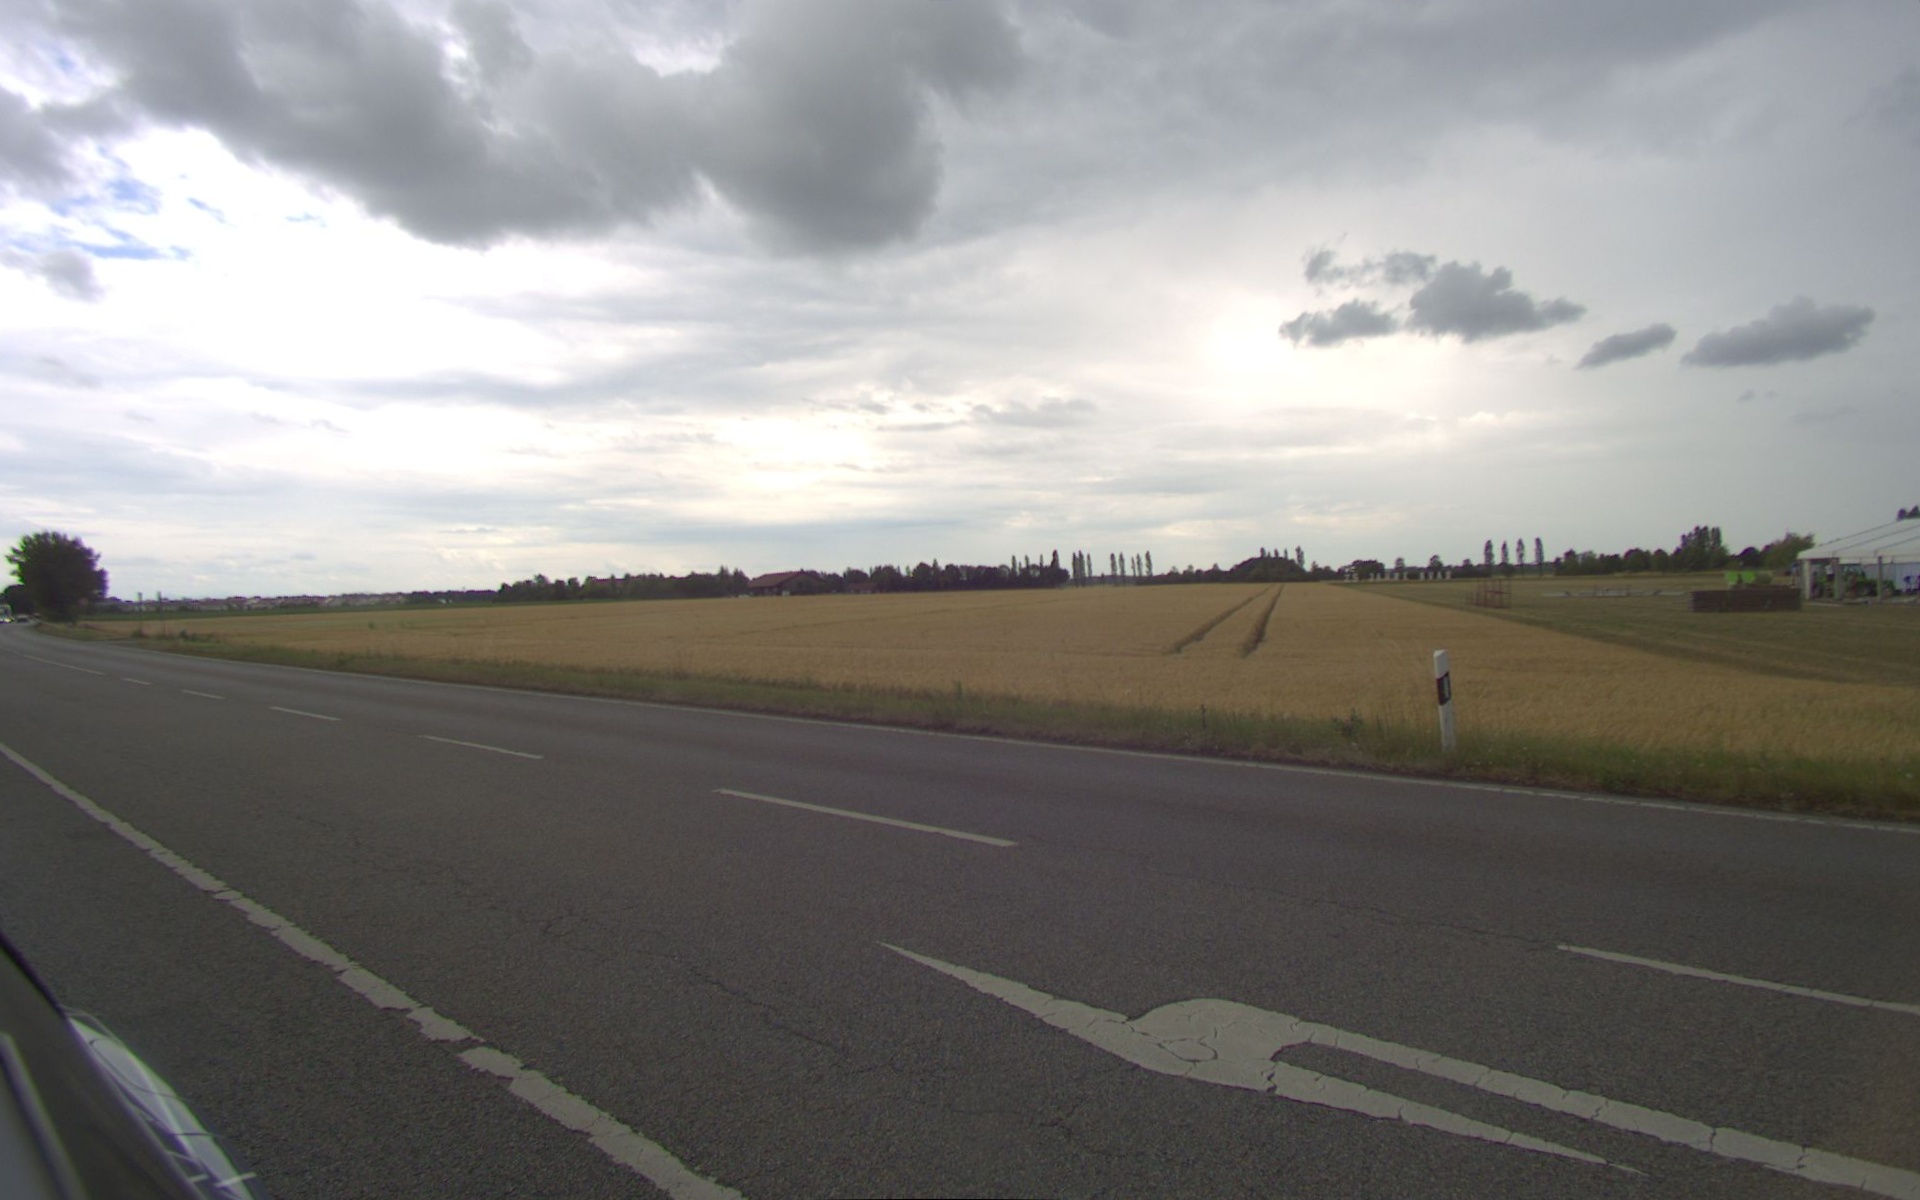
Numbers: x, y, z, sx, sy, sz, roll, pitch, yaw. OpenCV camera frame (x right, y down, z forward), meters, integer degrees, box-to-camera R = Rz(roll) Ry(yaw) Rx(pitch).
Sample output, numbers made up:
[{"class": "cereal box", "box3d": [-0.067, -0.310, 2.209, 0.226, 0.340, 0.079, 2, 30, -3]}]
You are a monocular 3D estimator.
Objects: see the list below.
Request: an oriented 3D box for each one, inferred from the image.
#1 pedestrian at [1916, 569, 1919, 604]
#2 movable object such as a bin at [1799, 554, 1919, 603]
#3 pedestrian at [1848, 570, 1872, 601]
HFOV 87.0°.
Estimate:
[{"class": "pedestrian", "box3d": [57.284, -0.817, 59.688, 0.793, 2.029, 1.029, -1, 0, -24]}, {"class": "movable object such as a bin", "box3d": [64.274, -1.535, 72.357, 4.127, 3.201, 7.534, -1, 1, 20]}, {"class": "pedestrian", "box3d": [59.065, -0.930, 66.434, 0.800, 2.029, 1.019, -1, 0, 19]}]
